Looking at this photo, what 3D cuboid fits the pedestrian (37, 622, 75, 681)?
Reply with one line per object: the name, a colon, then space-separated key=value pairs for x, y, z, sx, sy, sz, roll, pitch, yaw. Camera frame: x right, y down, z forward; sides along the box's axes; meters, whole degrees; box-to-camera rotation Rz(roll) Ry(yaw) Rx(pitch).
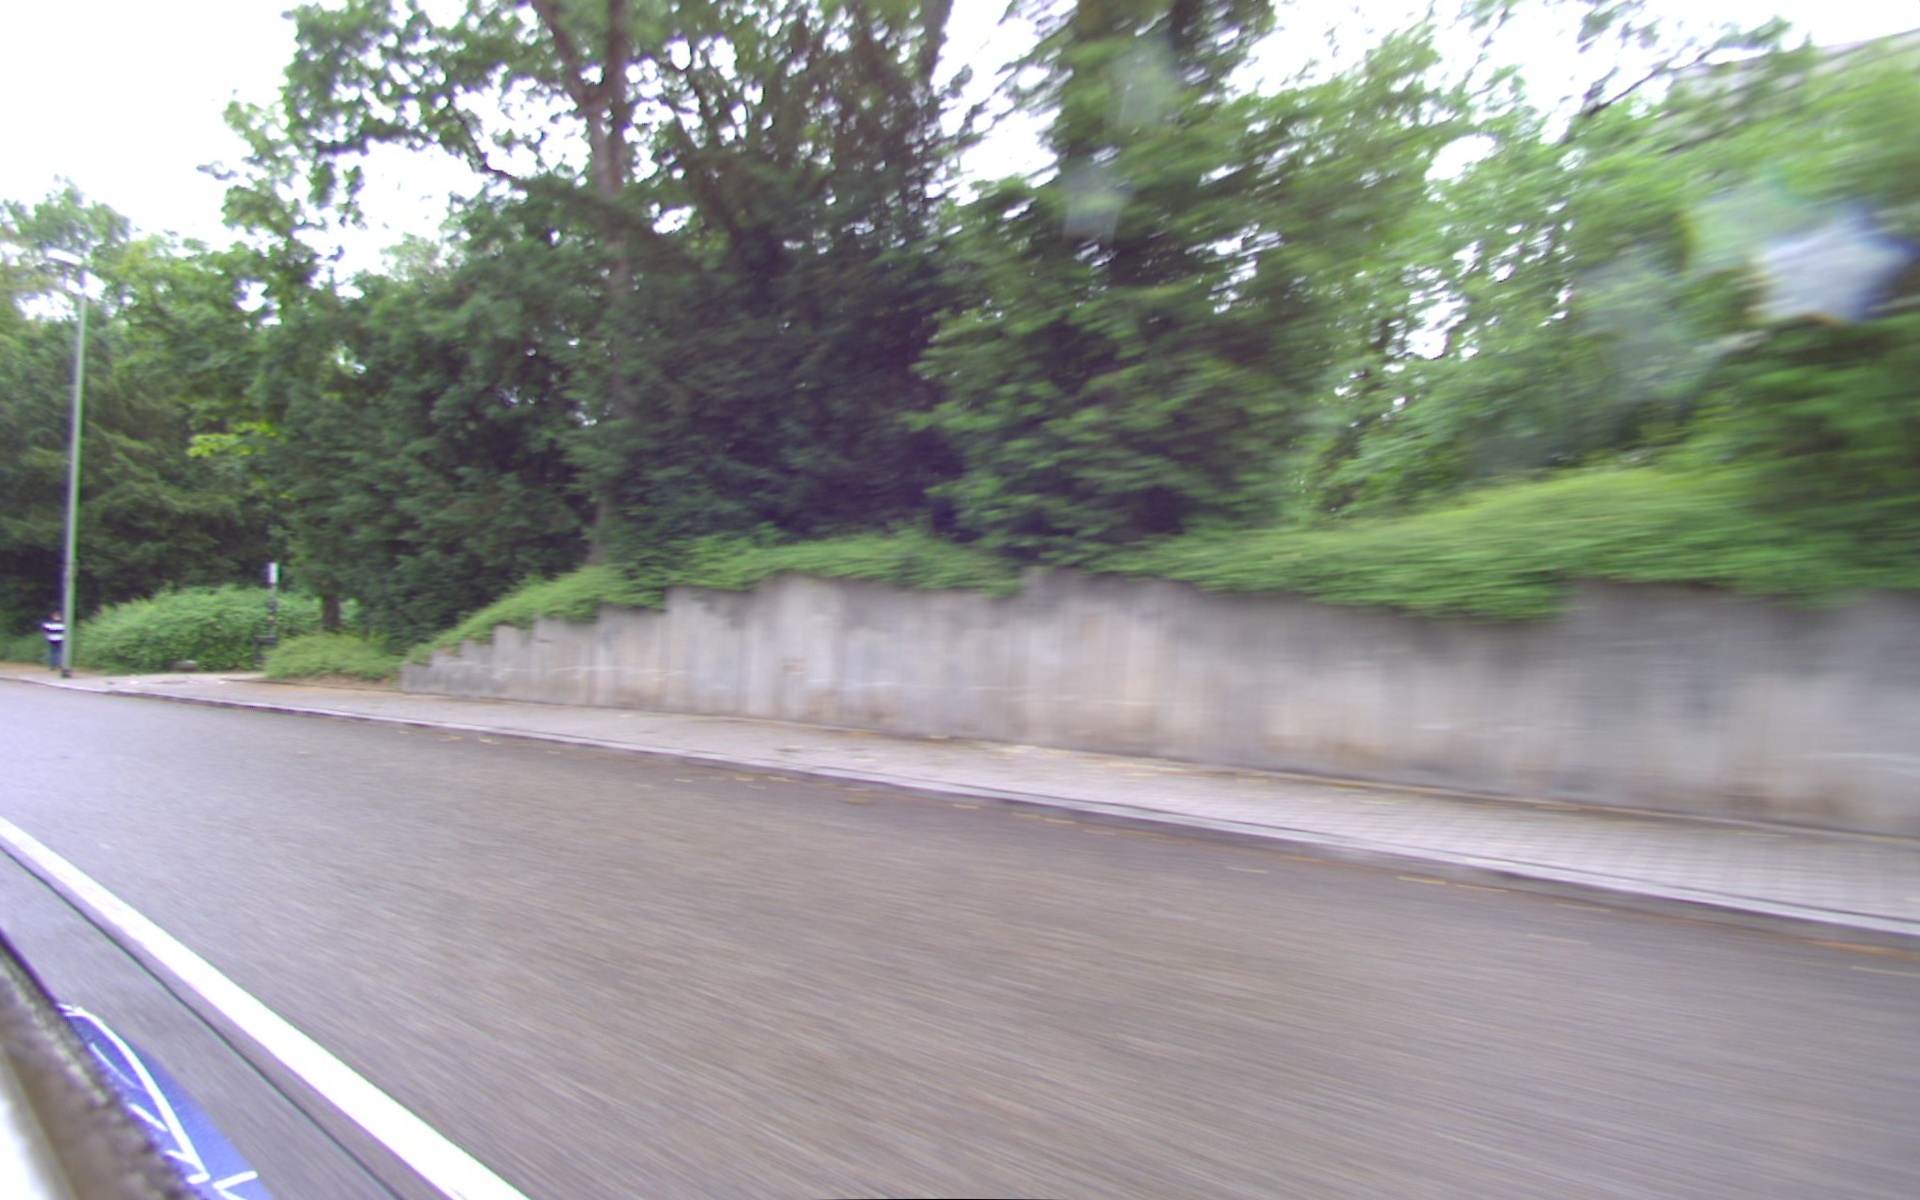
pedestrian: x=-25.825 y=1.462 z=28.908 sx=0.713 sy=1.657 sz=0.698 roll=-2 pitch=-3 yaw=43
